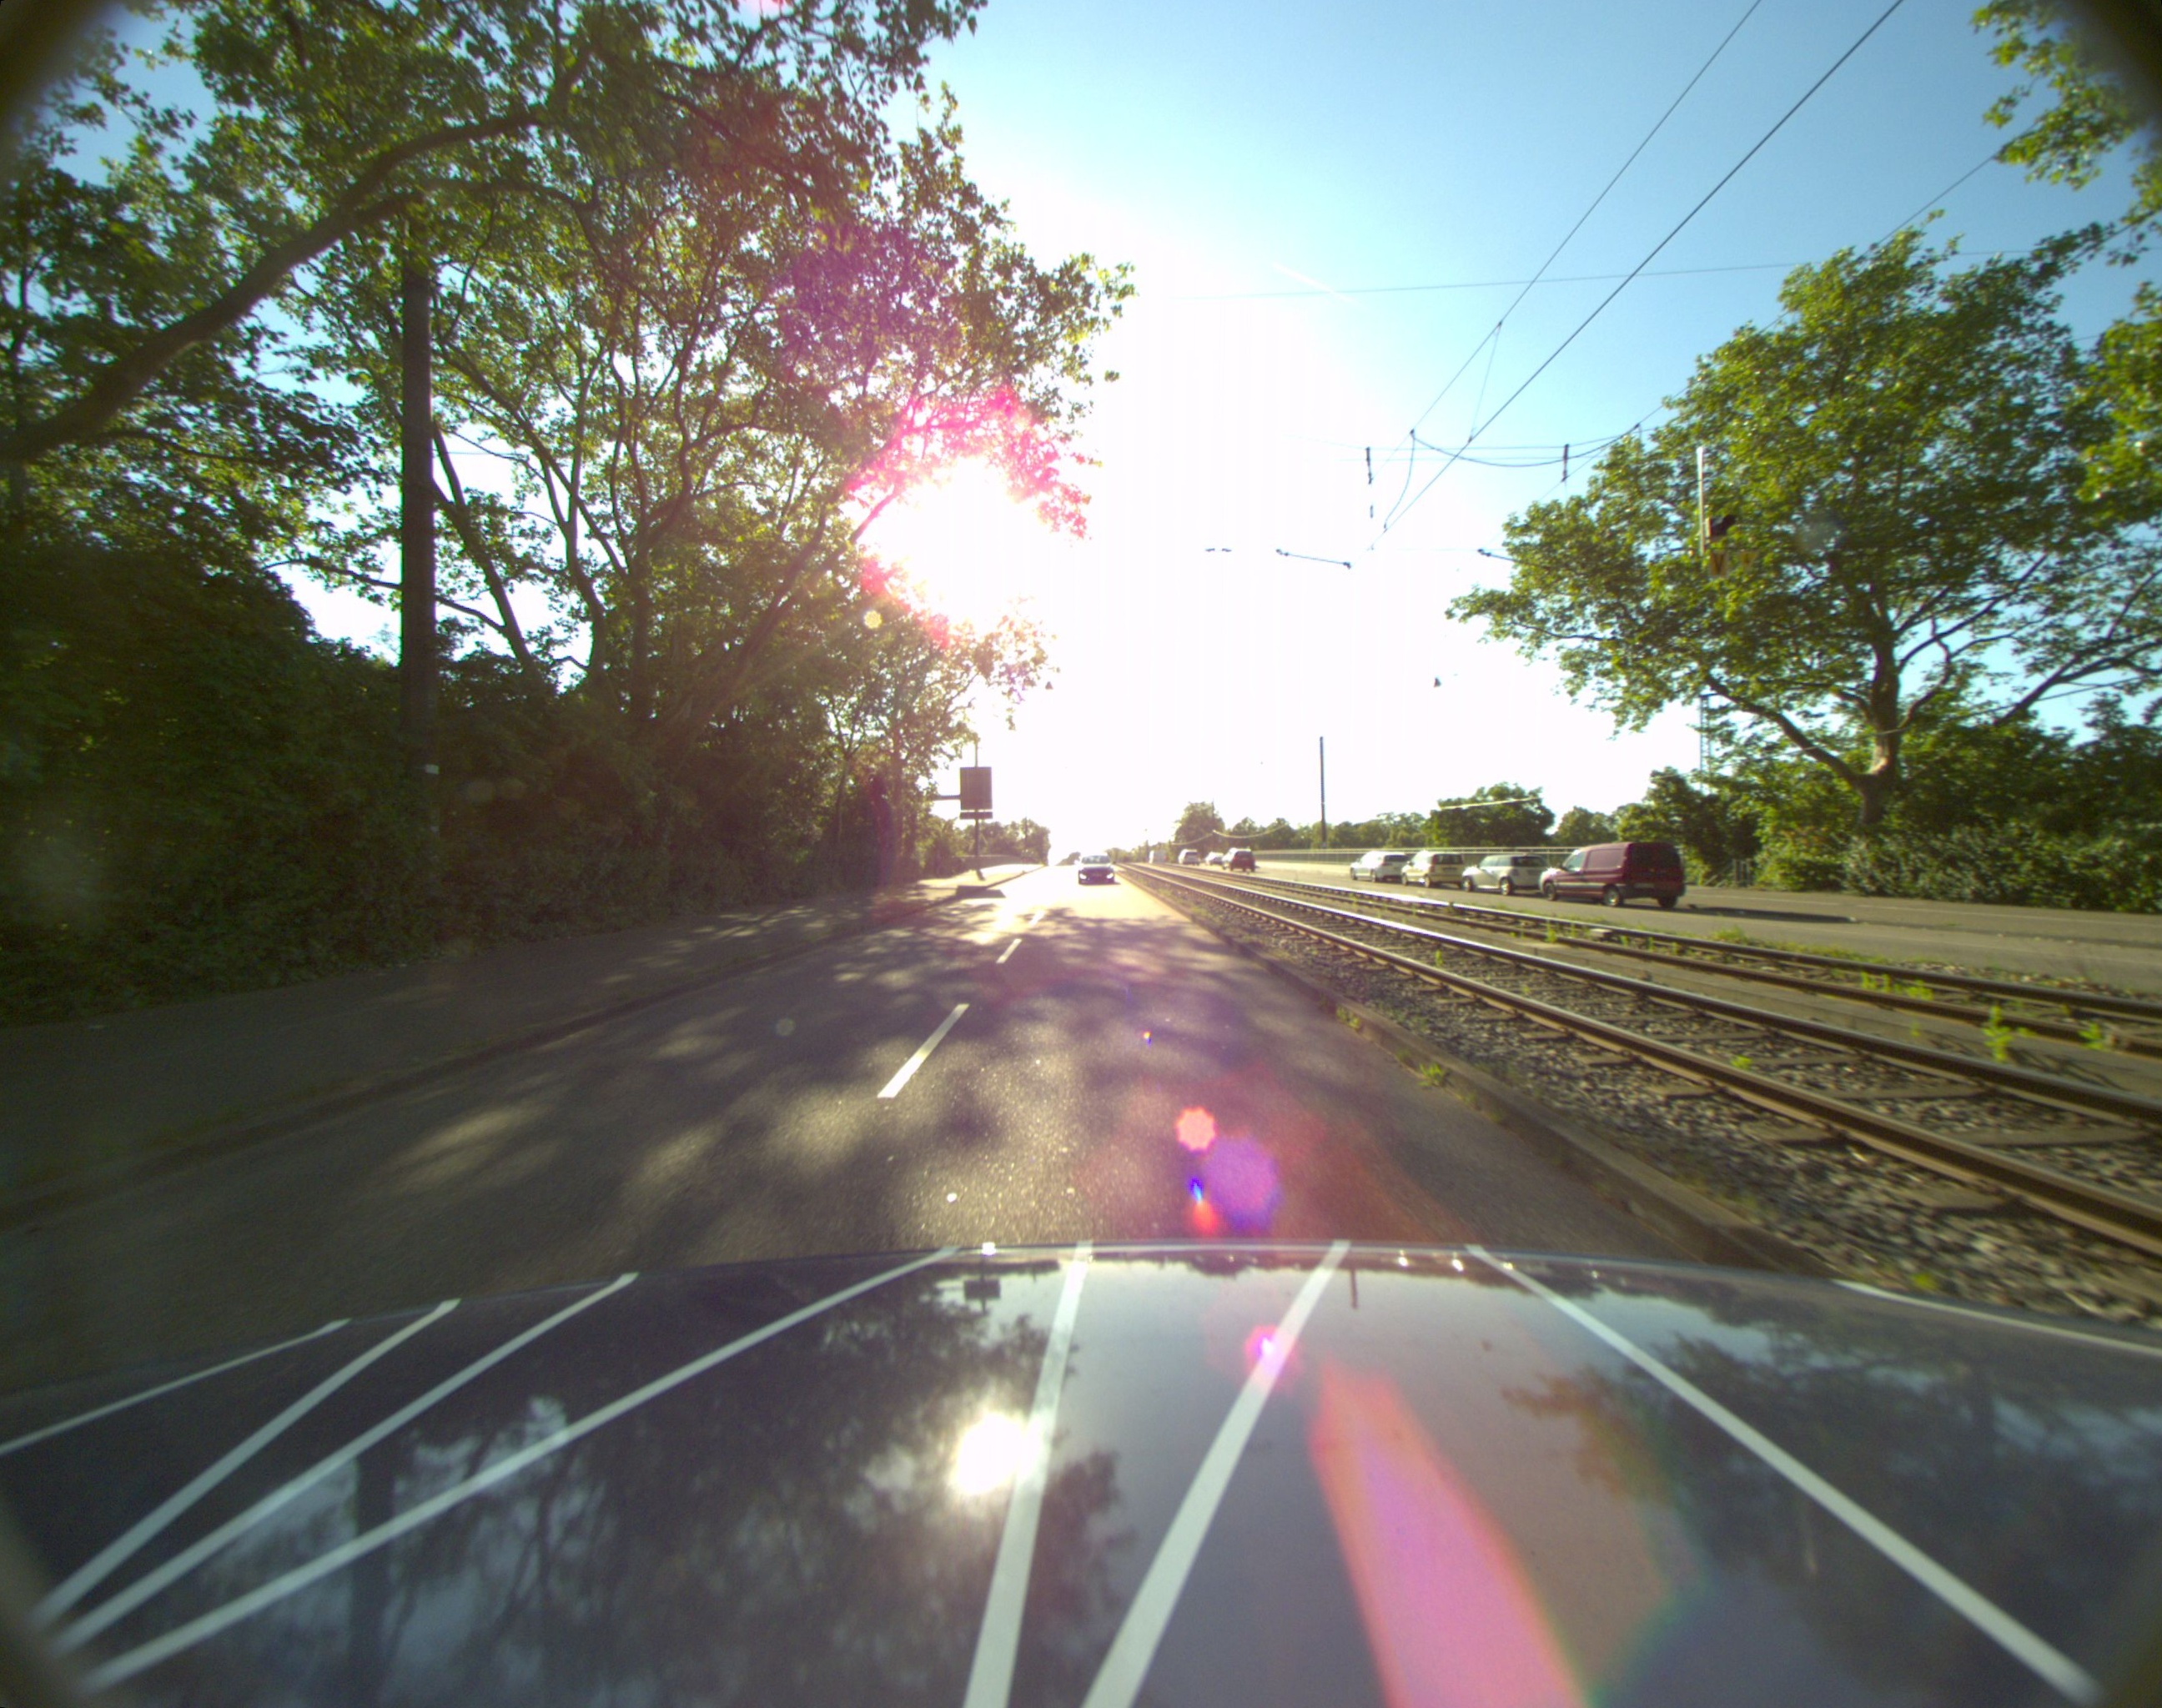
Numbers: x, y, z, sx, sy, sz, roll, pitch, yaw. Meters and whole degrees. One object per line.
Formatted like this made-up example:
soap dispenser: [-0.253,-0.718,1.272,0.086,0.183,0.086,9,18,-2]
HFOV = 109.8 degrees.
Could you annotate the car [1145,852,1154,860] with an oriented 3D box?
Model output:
car: [15.882,0.455,176.306,1.799,1.501,3.999,-2,1,1]

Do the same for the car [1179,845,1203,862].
car: [12.358,-0.020,85.676,1.988,1.841,4.962,1,1,0]

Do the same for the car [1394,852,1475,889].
car: [15.091,0.659,32.663,1.658,1.434,3.784,1,1,-1]

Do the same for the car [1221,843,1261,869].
car: [12.083,0.143,57.777,1.988,1.841,4.962,1,1,0]

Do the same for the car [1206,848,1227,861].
car: [15.326,0.032,85.944,1.658,1.491,3.925,1,1,0]

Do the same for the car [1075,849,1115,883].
car: [0.669,0.576,37.659,1.799,1.501,4.000,-2,0,0]

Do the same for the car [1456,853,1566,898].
car: [15.240,0.715,27.177,1.658,1.434,3.784,1,1,-2]

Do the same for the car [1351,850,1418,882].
car: [15.126,0.569,38.064,1.658,1.491,3.924,1,1,-2]

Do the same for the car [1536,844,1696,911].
car: [15.135,0.591,21.797,1.734,1.730,3.899,1,1,-2]
